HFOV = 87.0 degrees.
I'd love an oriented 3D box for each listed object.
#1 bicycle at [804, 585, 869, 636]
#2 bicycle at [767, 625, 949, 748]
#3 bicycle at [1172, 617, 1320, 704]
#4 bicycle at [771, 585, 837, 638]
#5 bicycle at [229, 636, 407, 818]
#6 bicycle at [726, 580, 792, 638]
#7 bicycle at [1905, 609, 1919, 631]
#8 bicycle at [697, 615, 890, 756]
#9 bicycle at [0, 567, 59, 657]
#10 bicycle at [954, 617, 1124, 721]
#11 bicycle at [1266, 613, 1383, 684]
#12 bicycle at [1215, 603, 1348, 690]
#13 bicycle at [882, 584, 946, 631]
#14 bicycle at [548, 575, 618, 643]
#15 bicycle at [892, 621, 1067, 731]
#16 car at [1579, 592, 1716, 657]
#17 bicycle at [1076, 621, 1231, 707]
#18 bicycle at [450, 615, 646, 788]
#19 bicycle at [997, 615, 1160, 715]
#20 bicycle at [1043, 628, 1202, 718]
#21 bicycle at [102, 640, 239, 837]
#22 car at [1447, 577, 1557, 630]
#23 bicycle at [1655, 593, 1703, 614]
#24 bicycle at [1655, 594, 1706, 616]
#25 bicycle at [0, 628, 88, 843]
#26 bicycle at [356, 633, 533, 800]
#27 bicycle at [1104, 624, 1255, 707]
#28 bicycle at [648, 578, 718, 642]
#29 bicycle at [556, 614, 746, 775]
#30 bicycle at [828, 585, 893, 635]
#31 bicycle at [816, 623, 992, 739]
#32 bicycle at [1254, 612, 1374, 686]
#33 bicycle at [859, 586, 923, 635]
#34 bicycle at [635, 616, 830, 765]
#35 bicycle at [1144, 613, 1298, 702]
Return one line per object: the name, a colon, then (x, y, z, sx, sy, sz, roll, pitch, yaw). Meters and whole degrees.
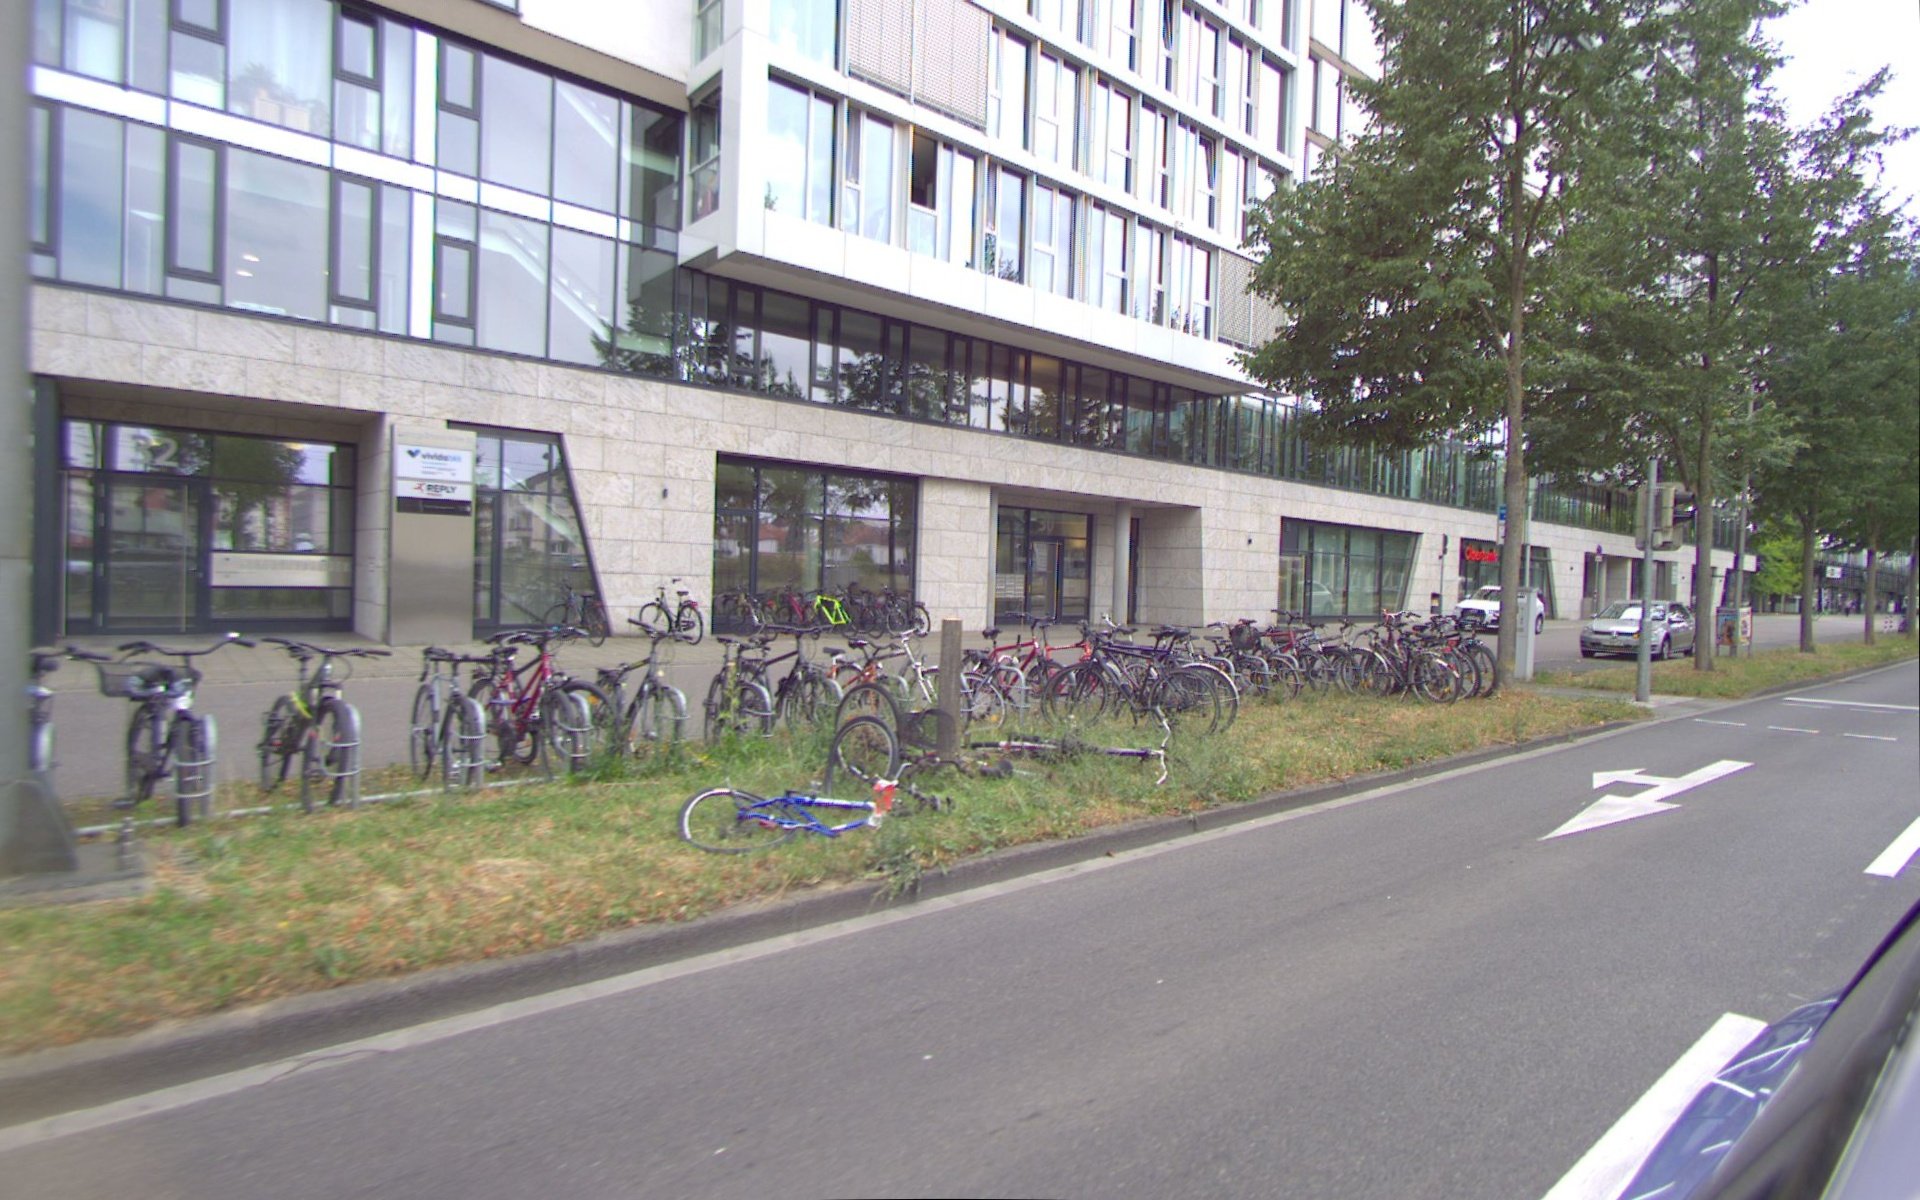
bicycle: (-2.547, 0.205, 20.821, 0.524, 0.965, 1.531, 0, 2, -43)
bicycle: (-0.941, 0.718, 8.984, 1.742, 0.986, 0.600, -2, -2, 42)
bicycle: (3.675, 0.748, 13.090, 1.771, 1.025, 0.601, 0, -1, 42)
bicycle: (-3.142, 0.211, 20.270, 0.524, 0.965, 1.531, 0, 2, -43)
bicycle: (-4.125, 0.726, 6.439, 0.642, 0.963, 1.862, 0, -2, -42)
bicycle: (-3.916, 0.160, 19.640, 0.524, 1.039, 1.531, 0, 2, -43)
bicycle: (40.776, 0.830, 42.984, 2.077, 0.887, 0.634, 0, 0, -39)
bicycle: (-1.459, 0.678, 8.616, 1.928, 1.079, 0.535, -2, -2, 42)
bicycle: (-12.180, 0.123, 12.768, 1.585, 1.039, 0.606, 3, 2, 23)
bicycle: (0.784, 0.673, 10.454, 1.742, 0.986, 0.600, -2, -2, 42)
bicycle: (5.291, 0.683, 14.738, 0.543, 0.965, 1.530, 1, -1, -43)
bicycle: (4.298, 0.589, 13.618, 0.516, 1.104, 1.669, 1, -1, -43)
bicycle: (-1.027, 0.153, 22.227, 0.524, 0.965, 1.531, 0, 2, -43)
bicycle: (-6.374, 0.128, 17.083, 0.524, 1.039, 1.600, 0, 3, -43)
bicycle: (0.159, 0.704, 9.916, 1.742, 0.986, 0.600, -2, -2, 42)
car: (17.075, 0.554, 25.082, 4.109, 1.439, 1.764, 0, 1, -40)
bicycle: (2.211, 0.709, 11.725, 1.713, 0.917, 0.579, -2, -2, 42)
bicycle: (-3.028, 0.662, 7.322, 0.693, 1.079, 1.931, 0, -2, -42)
bicycle: (1.246, 0.667, 10.897, 1.713, 0.986, 0.600, -2, -2, 42)
bicycle: (1.781, 0.780, 11.267, 1.713, 0.917, 0.579, -2, -2, 42)
bicycle: (-4.689, 0.732, 5.967, 0.493, 0.963, 1.862, 1, -2, -42)
car: (18.841, 0.102, 35.118, 4.165, 1.607, 1.862, 0, 4, -40)
bicycle: (43.237, 0.198, 60.904, 2.231, 1.191, 0.961, 3, 2, 43)
bicycle: (44.018, 0.284, 61.848, 2.418, 1.191, 1.184, 3, 2, 43)
bicycle: (-5.170, 0.665, 5.522, 0.564, 1.008, 1.862, 1, -2, -42)
bicycle: (-3.551, 0.720, 6.888, 0.602, 0.963, 1.862, 0, -2, -42)
bicycle: (2.617, 0.760, 12.180, 1.713, 0.917, 0.579, -2, -2, 42)
bicycle: (-5.021, 0.162, 18.290, 0.524, 1.039, 1.600, 0, 3, -43)
bicycle: (-2.414, 0.655, 7.751, 0.631, 1.079, 1.931, 1, -2, -42)
bicycle: (-2.088, 0.184, 21.199, 0.524, 0.965, 1.531, 0, 2, -43)
bicycle: (-0.558, 0.714, 9.479, 1.742, 0.986, 0.600, -2, -2, 42)
bicycle: (4.883, 0.653, 14.044, 0.476, 0.965, 1.530, 1, -1, -43)
bicycle: (-1.502, 0.211, 21.781, 0.524, 0.965, 1.531, 0, 2, -43)
bicycle: (-1.898, 0.682, 8.253, 1.928, 1.079, 0.535, -2, -2, 42)
bicycle: (3.218, 0.689, 12.575, 1.771, 1.025, 0.601, -2, -2, 42)
